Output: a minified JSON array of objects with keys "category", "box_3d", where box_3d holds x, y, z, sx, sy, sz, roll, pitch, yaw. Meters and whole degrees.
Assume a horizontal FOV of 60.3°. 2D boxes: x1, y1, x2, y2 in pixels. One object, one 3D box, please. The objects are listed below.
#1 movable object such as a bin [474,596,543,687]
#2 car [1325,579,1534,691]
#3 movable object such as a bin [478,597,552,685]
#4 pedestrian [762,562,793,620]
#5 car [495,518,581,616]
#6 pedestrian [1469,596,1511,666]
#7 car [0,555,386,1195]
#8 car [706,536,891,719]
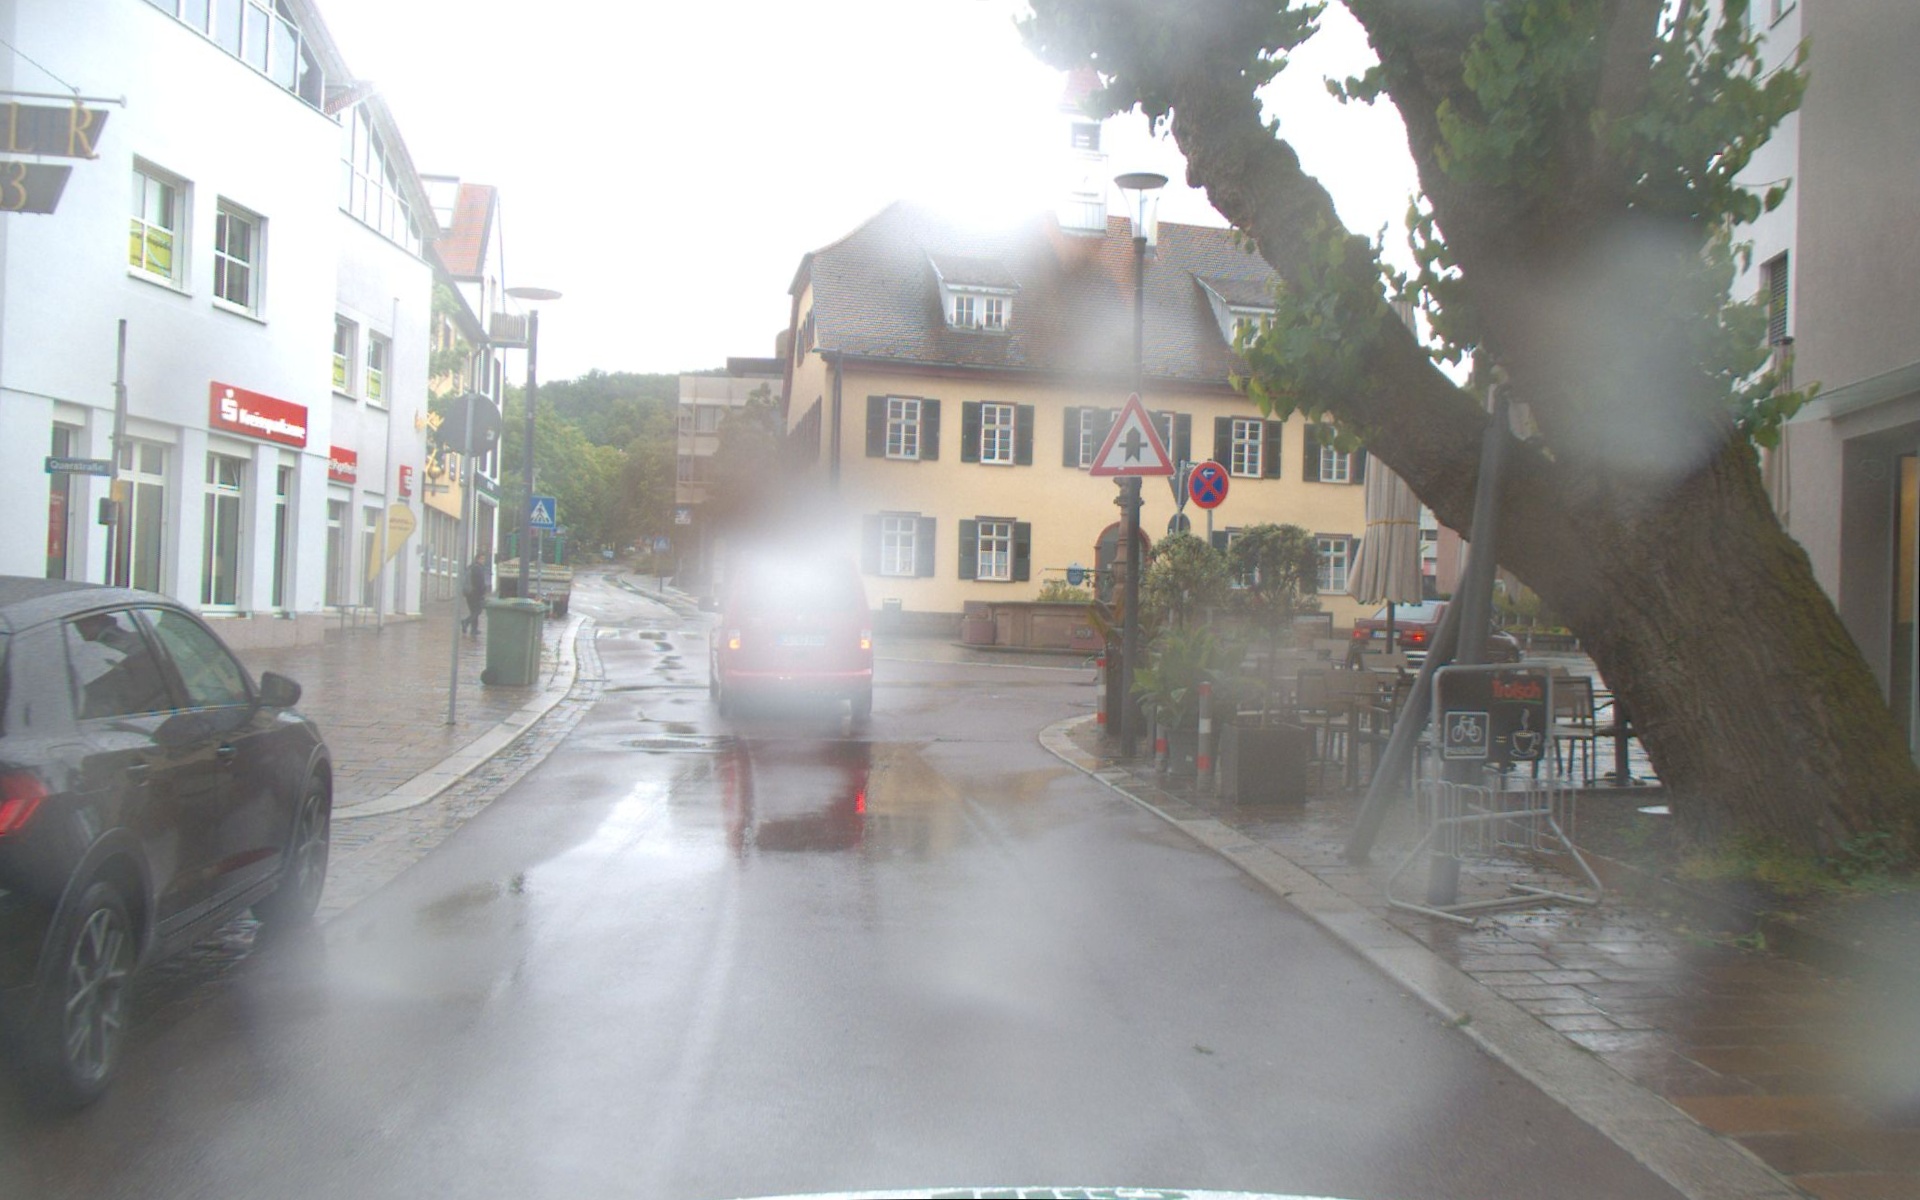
[{"category":"movable object such as a bin","box_3d":[-5.802,0.531,21.261,0.700,1.125,0.599,3,-2,-5]},{"category":"car","box_3d":[8.518,0.655,29.842,1.967,1.831,3.971,1,-2,44]},{"category":"movable object such as a bin","box_3d":[-5.900,0.545,21.955,0.779,1.125,0.721,3,-2,-5]},{"category":"pedestrian","box_3d":[-6.106,-0.297,55.315,0.747,1.874,0.902,2,-2,7]},{"category":"car","box_3d":[-12.926,-0.899,50.699,2.261,2.647,6.931,3,-2,-14]},{"category":"pedestrian","box_3d":[14.643,0.863,45.712,0.880,1.874,0.766,2,-2,3]},{"category":"car","box_3d":[-3.394,0.617,5.858,1.754,1.521,3.993,3,0,-8]},{"category":"car","box_3d":[-1.982,0.253,19.471,1.859,1.843,3.993,3,1,-8]}]
